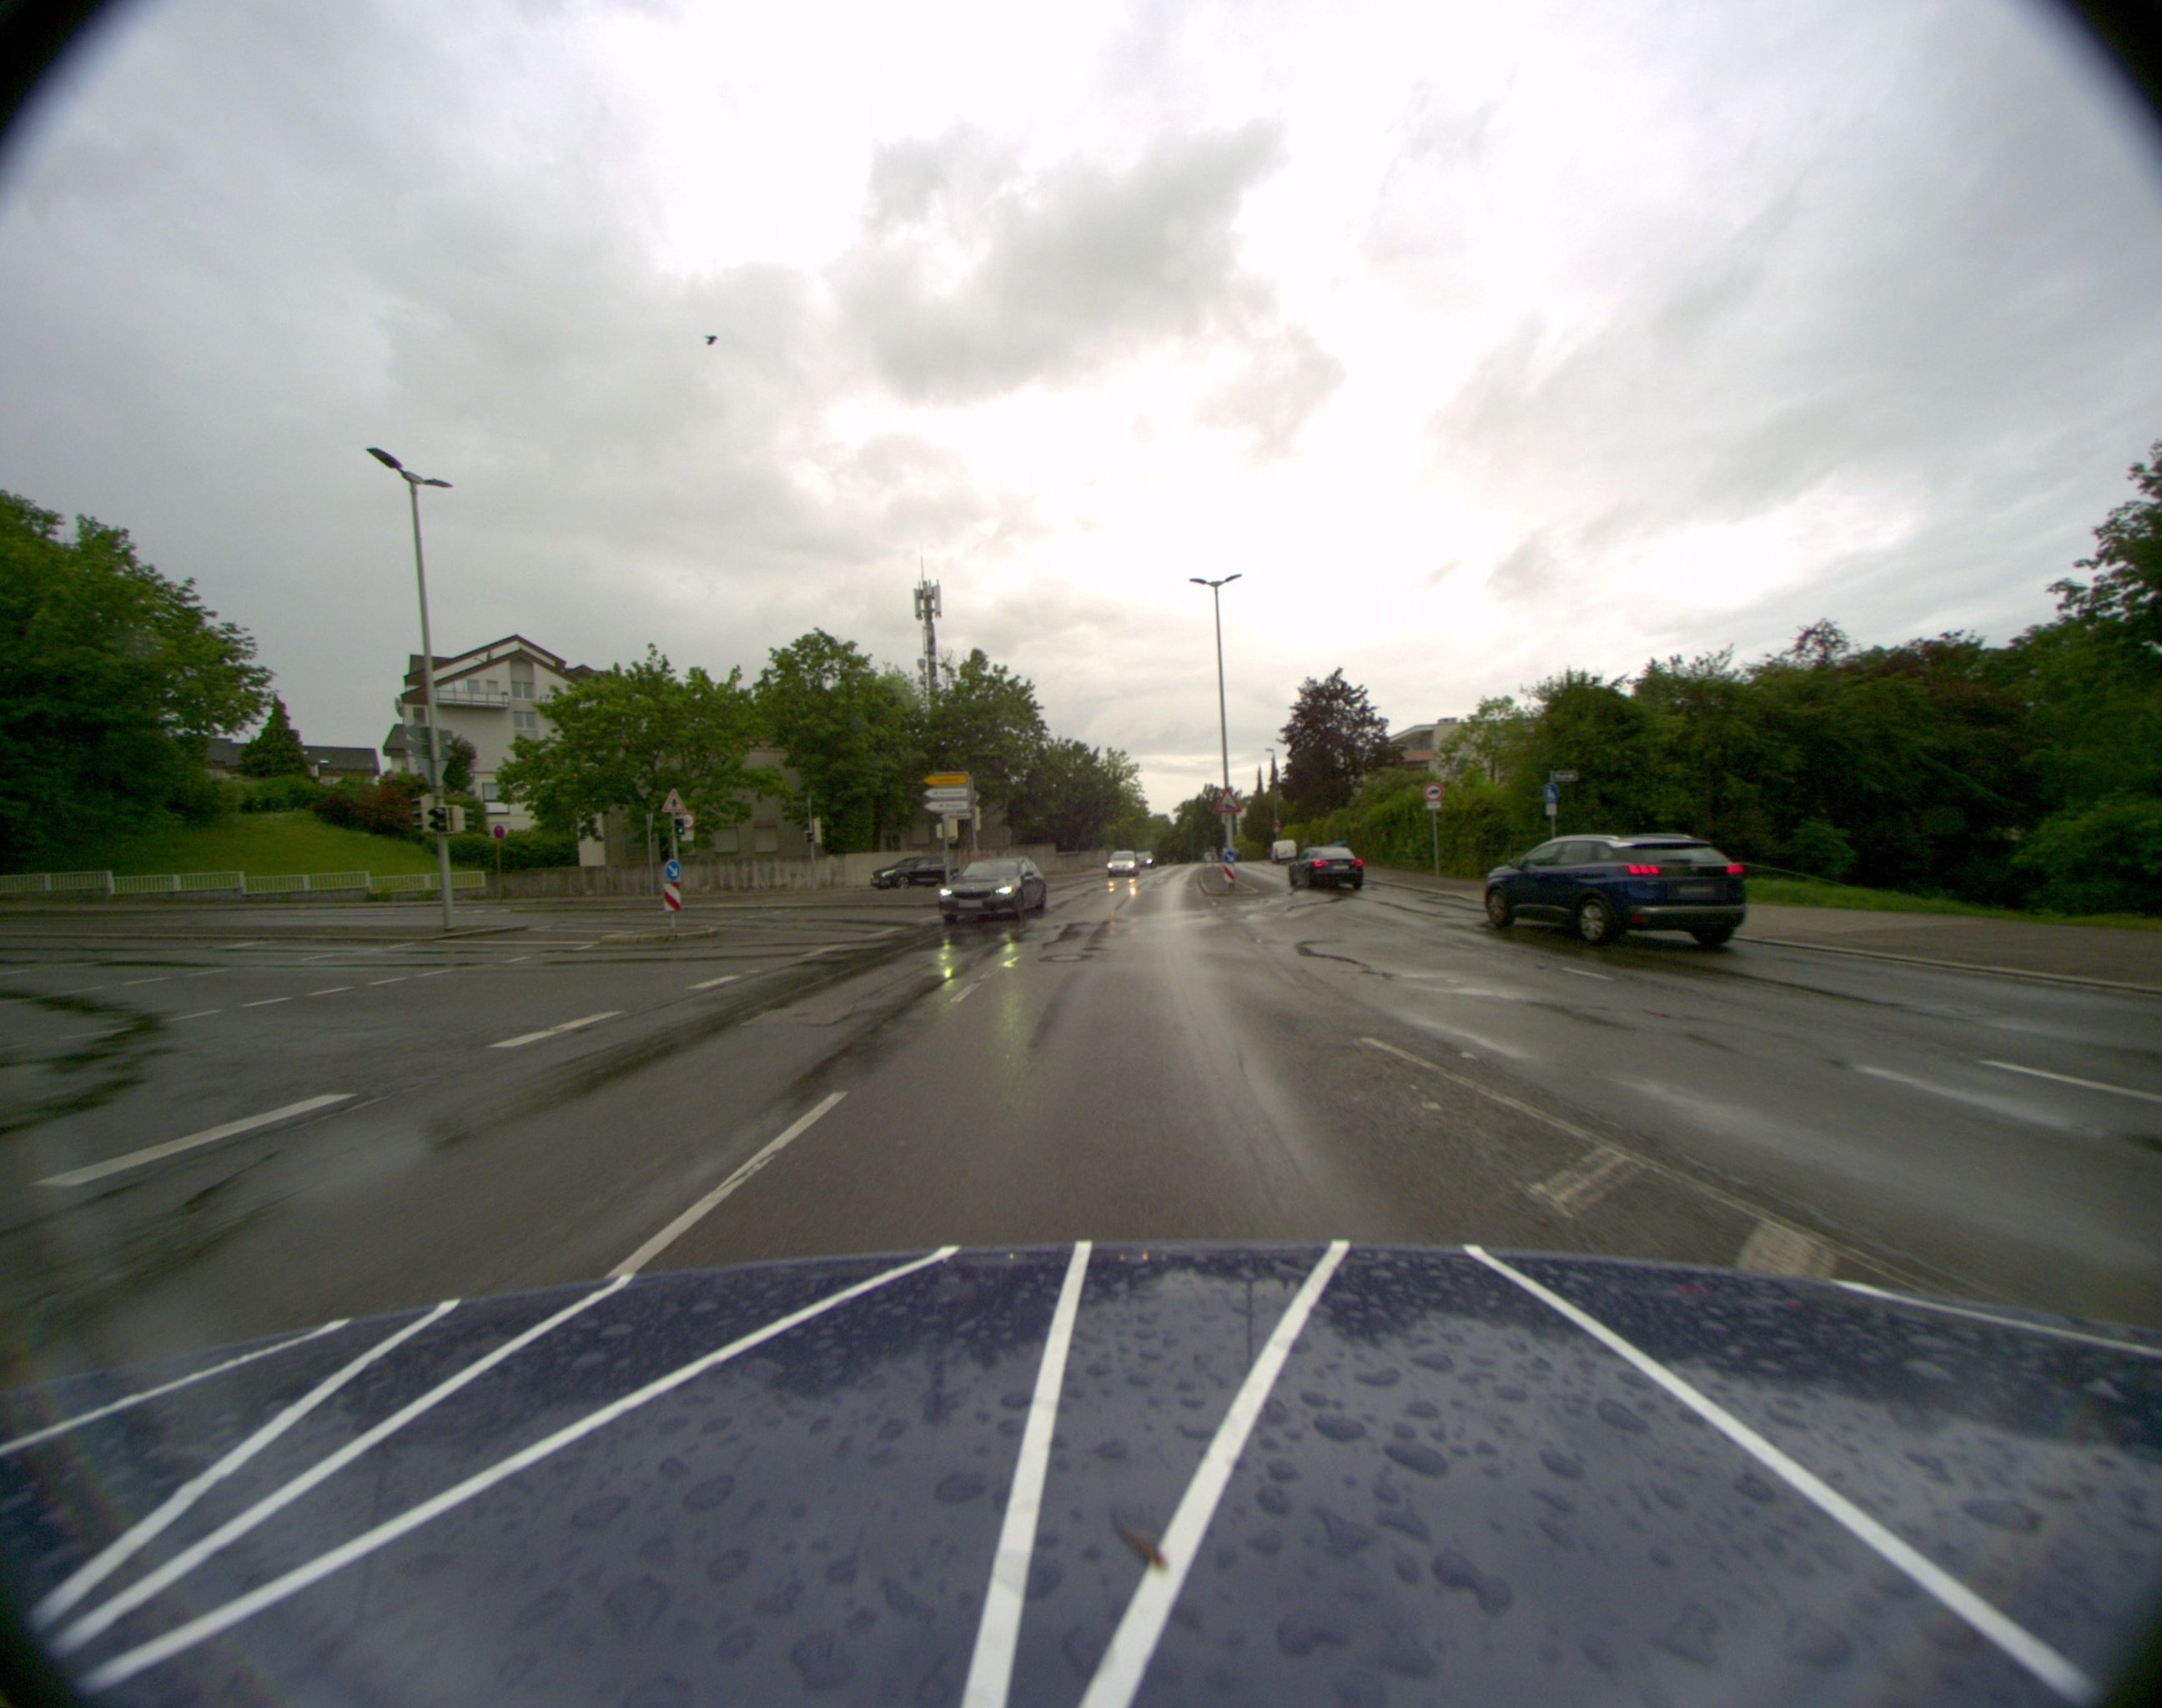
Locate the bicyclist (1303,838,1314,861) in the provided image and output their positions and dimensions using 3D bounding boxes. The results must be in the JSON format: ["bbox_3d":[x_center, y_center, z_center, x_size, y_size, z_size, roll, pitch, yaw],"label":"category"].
[{"bbox_3d":[17.017,-0.325,56.797,0.742,1.637,0.778,-2,1,15],"label":"bicyclist"}]

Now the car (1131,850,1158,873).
[{"bbox_3d":[5.350,0.602,63.479,1.997,1.647,4.227,-2,1,7],"label":"car"}]

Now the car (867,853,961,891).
[{"bbox_3d":[-7.936,0.814,36.355,4.007,1.543,1.689,-3,2,-42],"label":"car"}]

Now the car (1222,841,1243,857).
[{"bbox_3d":[15.459,-0.527,77.740,1.820,1.448,4.001,-2,1,7],"label":"car"}]

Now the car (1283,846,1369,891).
[{"bbox_3d":[8.651,0.452,27.210,1.869,1.468,4.446,0,1,3],"label":"car"}]

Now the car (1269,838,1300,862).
[{"bbox_3d":[15.894,-0.327,59.444,1.820,1.707,4.001,-2,1,7],"label":"car"}]

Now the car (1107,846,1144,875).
[{"bbox_3d":[2.828,0.376,47.144,1.997,1.647,4.001,-2,1,7],"label":"car"}]

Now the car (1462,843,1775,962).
[{"bbox_3d":[8.175,0.610,12.207,1.869,1.545,4.445,0,1,0],"label":"car"}]

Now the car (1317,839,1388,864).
[{"bbox_3d":[17.217,-0.171,48.328,3.887,1.448,1.768,-2,1,5],"label":"car"}]

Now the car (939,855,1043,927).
[{"bbox_3d":[-2.172,0.855,19.397,1.872,1.510,4.000,-2,1,4],"label":"car"}]

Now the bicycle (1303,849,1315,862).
[{"bbox_3d":[17.061,0.106,56.915,0.742,0.846,1.974,-2,1,15],"label":"bicycle"}]

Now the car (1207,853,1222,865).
[{"bbox_3d":[18.255,0.627,103.743,1.820,1.448,4.001,-2,1,7],"label":"car"}]
